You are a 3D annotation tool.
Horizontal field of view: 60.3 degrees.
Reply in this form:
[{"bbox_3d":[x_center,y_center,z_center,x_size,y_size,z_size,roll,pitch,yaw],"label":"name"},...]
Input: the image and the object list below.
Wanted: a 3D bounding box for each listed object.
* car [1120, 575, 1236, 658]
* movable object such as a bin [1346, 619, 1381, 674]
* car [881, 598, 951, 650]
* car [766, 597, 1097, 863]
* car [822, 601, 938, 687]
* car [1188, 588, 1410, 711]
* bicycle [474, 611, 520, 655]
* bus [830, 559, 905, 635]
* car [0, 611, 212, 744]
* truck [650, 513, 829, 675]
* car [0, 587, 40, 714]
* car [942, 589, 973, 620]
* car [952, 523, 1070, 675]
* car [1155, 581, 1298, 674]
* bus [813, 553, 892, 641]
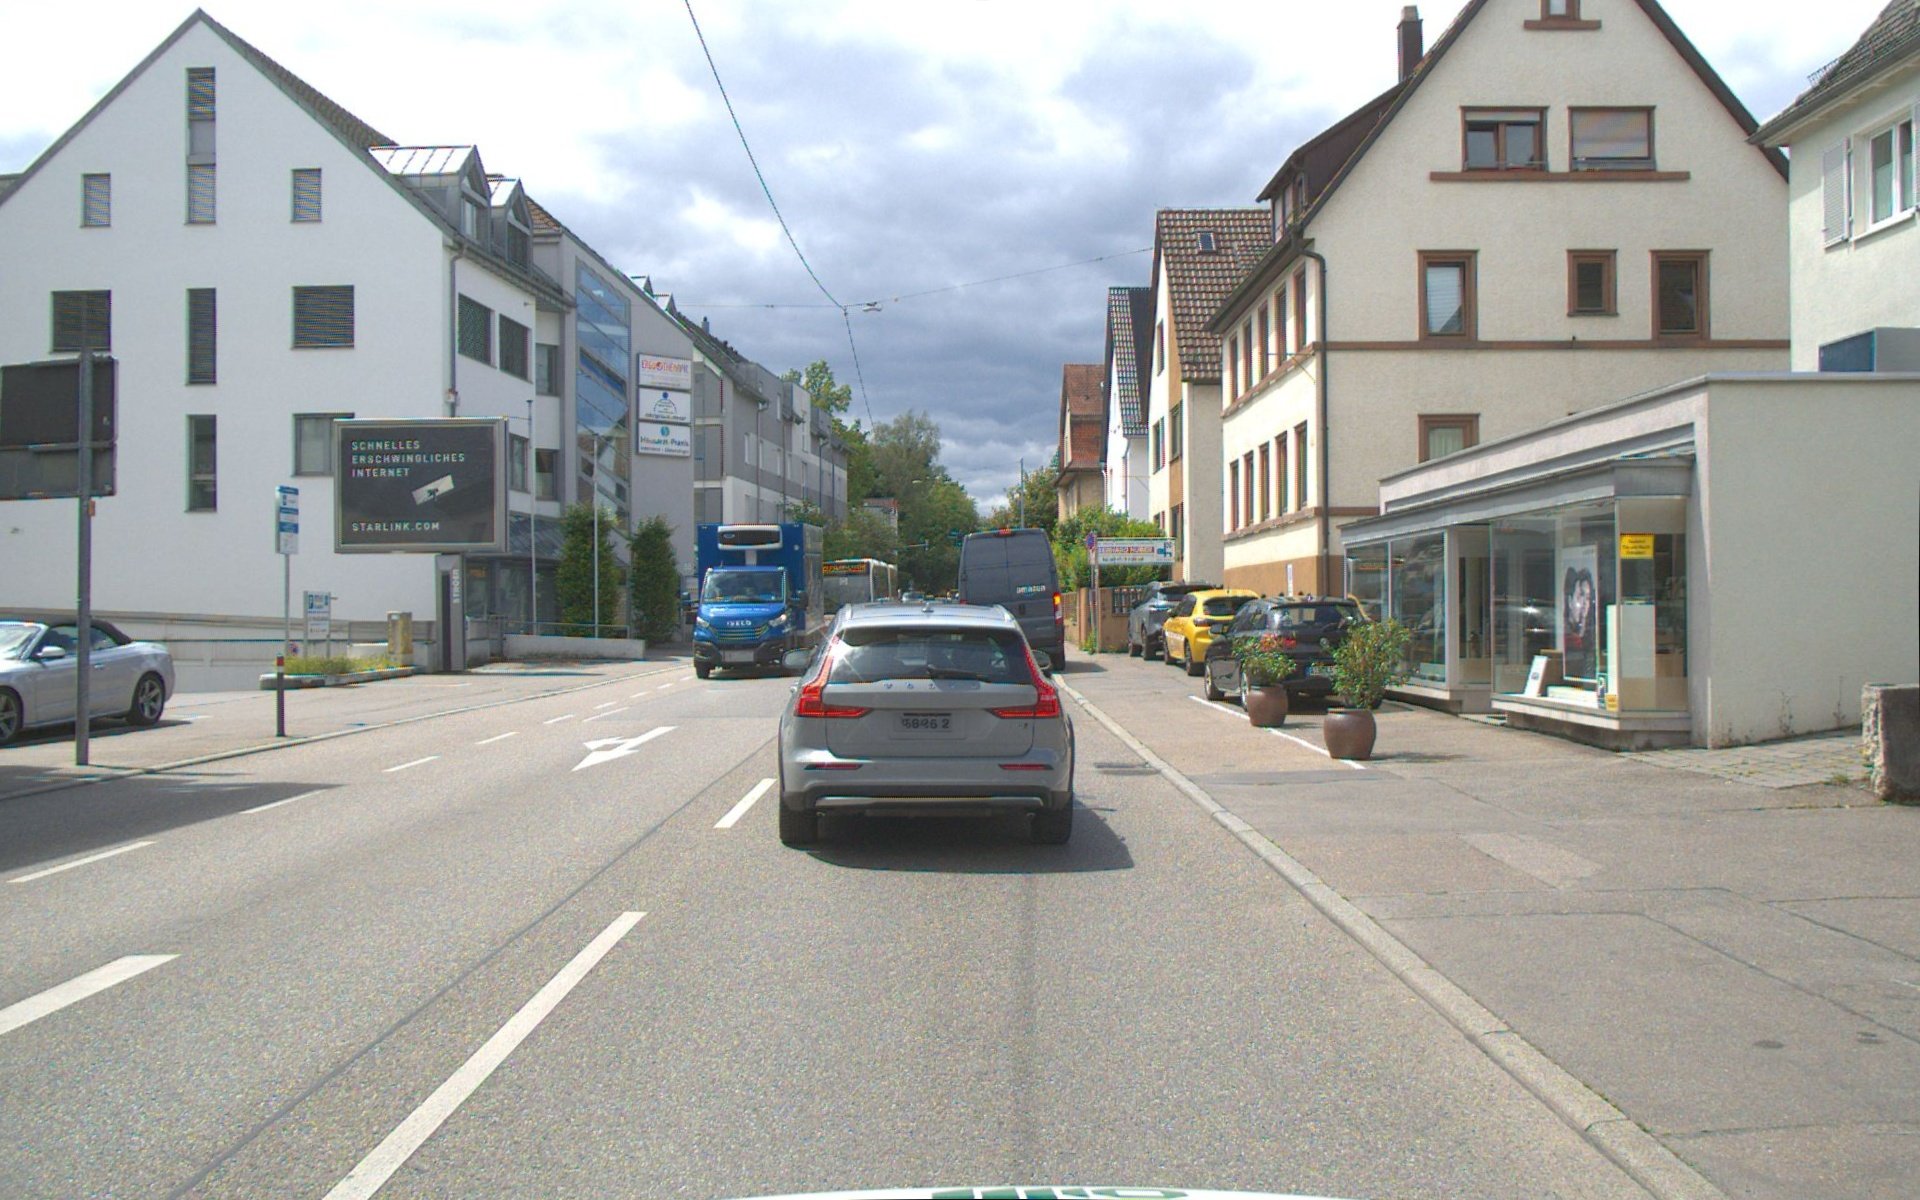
[{"bbox_3d":[4.638,0.324,35.769,1.823,1.640,4.585,-2,0,-1],"label":"car"},{"bbox_3d":[7.062,0.814,28.951,0.490,0.941,0.598,-1,0,4],"label":"movable object such as a bin"},{"bbox_3d":[-1.277,0.671,49.427,1.857,1.472,3.969,0,0,2],"label":"car"},{"bbox_3d":[-0.107,0.725,11.306,1.857,1.479,3.969,0,0,2],"label":"car"},{"bbox_3d":[-1.425,0.772,30.842,1.857,1.472,3.969,0,0,2],"label":"car"},{"bbox_3d":[4.455,0.600,22.470,1.928,1.473,4.533,-1,0,-2],"label":"car"},{"bbox_3d":[-12.264,0.867,43.882,0.617,1.114,2.003,-1,0,1],"label":"bicycle"},{"bbox_3d":[-4.145,-0.130,75.770,2.659,3.219,8.070,-1,0,2],"label":"bus"},{"bbox_3d":[-11.055,0.853,19.592,1.910,1.381,4.858,-1,0,4],"label":"car"},{"bbox_3d":[-4.658,-0.118,36.568,2.795,3.147,8.089,-1,0,0],"label":"truck"},{"bbox_3d":[-13.624,0.729,19.883,1.910,1.647,4.933,-3,0,6],"label":"car"},{"bbox_3d":[-0.145,0.296,113.142,1.952,2.049,4.001,0,0,2],"label":"car"},{"bbox_3d":[1.025,-0.024,34.037,2.206,2.844,5.570,-1,0,1],"label":"car"},{"bbox_3d":[4.897,0.453,30.982,1.839,1.472,4.306,-1,2,-2],"label":"car"},{"bbox_3d":[-4.205,-0.102,66.616,2.627,3.219,10.182,-1,0,-1],"label":"bus"}]
